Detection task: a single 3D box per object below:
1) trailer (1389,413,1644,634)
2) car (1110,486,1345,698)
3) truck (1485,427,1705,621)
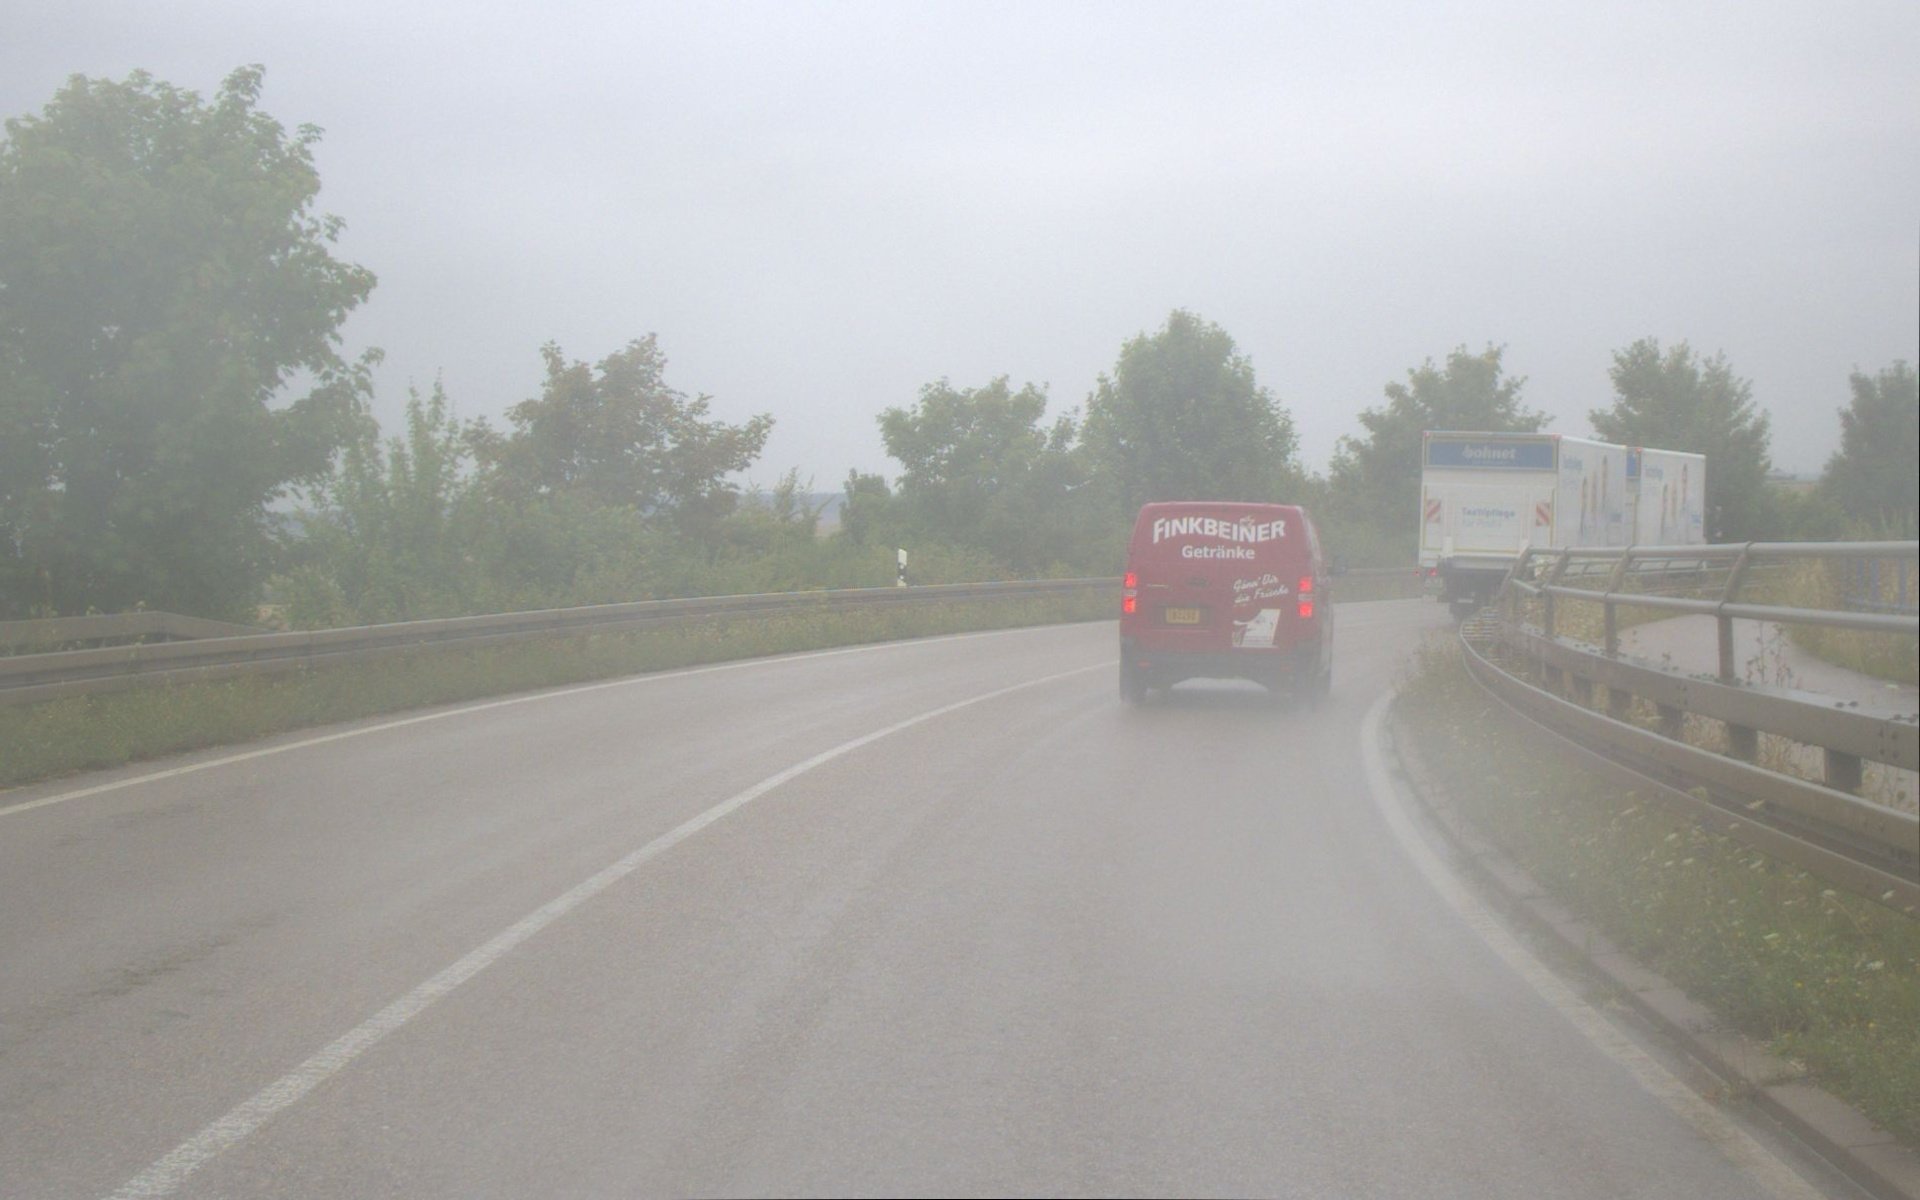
[{"bbox_3d":[10.885,-1.475,66.442,3.205,3.908,8.731,2,2,20],"label":"trailer"},{"bbox_3d":[2.649,-0.140,33.198,1.994,1.919,4.142,0,2,8],"label":"car"},{"bbox_3d":[13.895,-1.648,74.653,3.205,3.908,8.731,2,2,20],"label":"truck"}]
